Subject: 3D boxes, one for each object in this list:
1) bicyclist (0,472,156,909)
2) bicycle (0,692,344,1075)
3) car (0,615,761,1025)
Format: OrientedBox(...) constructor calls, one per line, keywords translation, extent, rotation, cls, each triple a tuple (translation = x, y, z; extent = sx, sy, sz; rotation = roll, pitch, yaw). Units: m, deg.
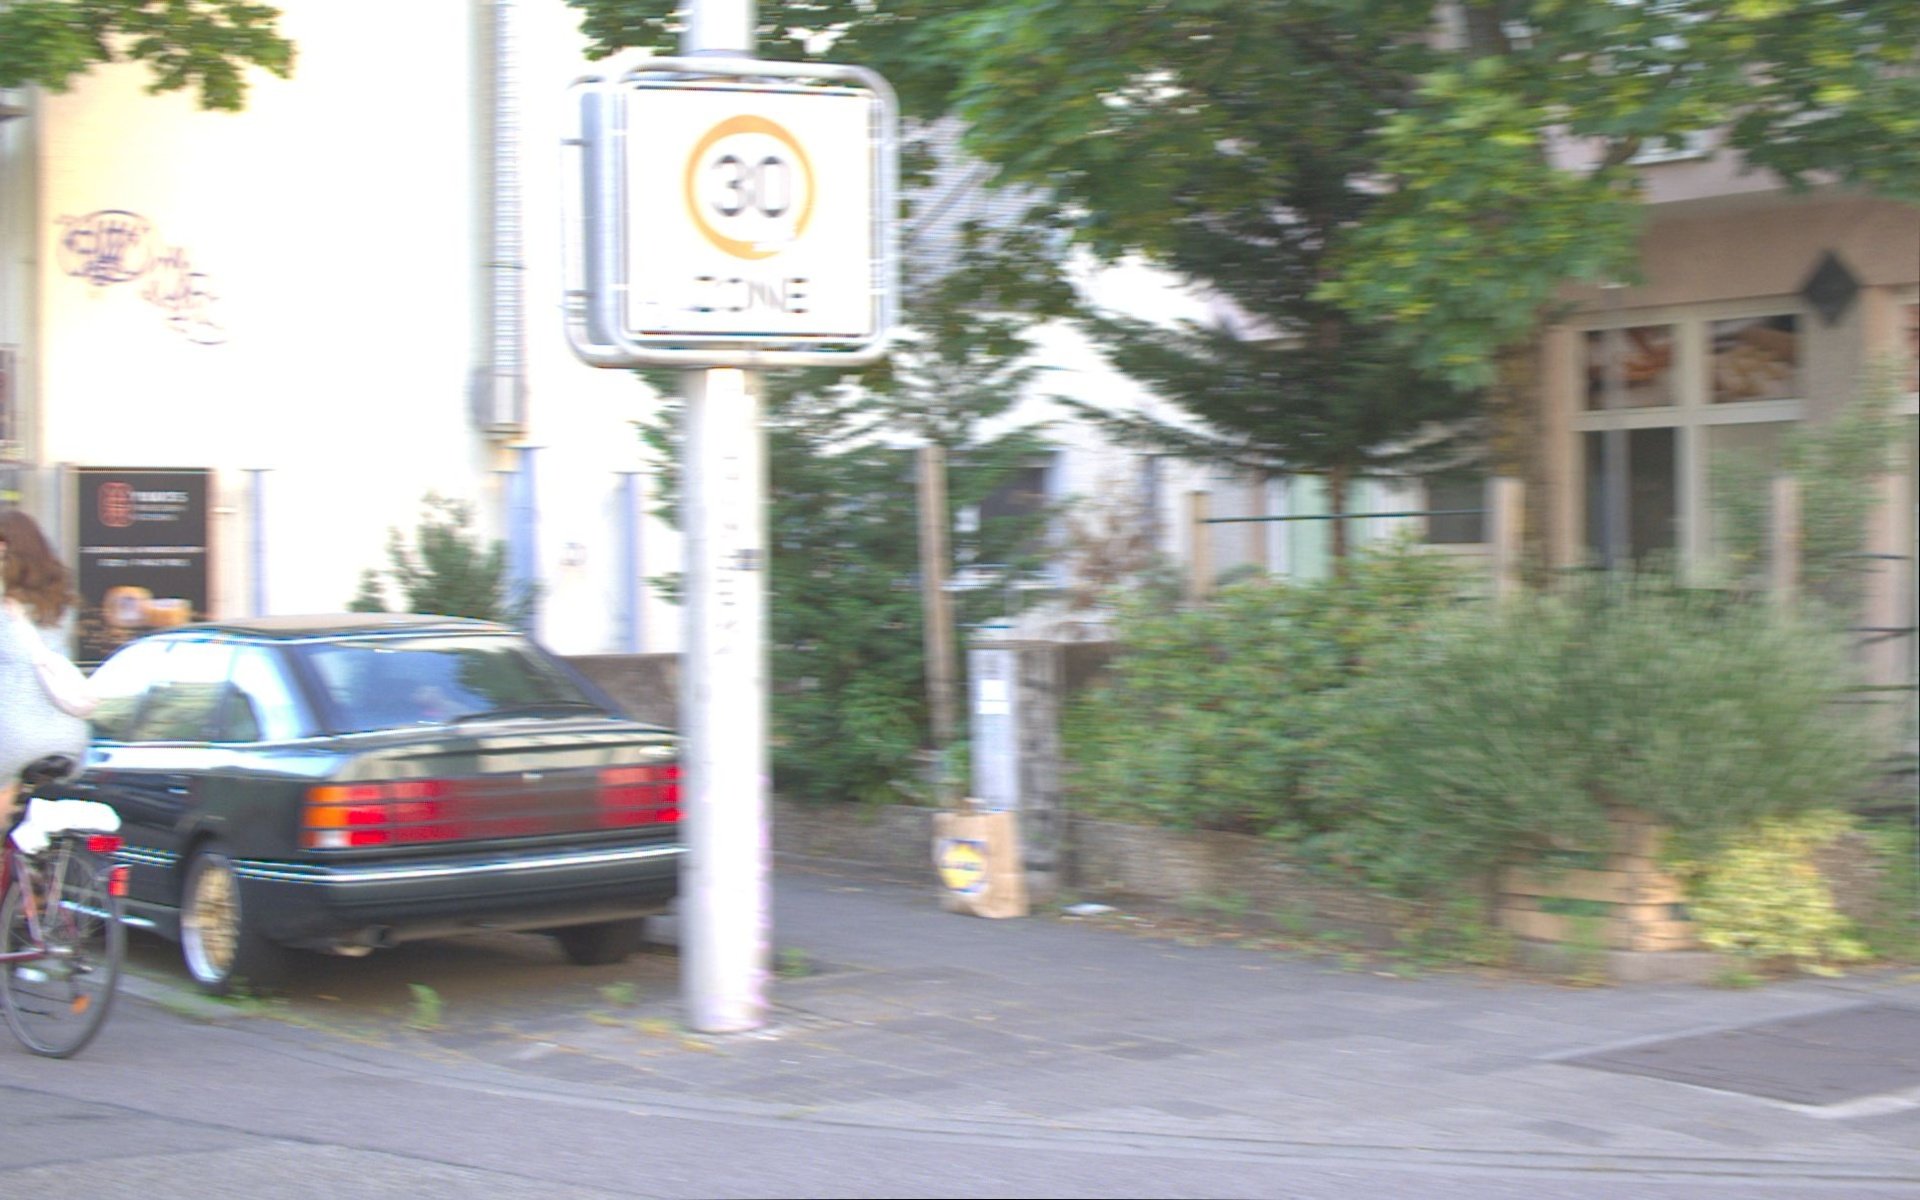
OrientedBox(translation=(-3.206, 0.316, 11.314), extent=(0.867, 1.376, 0.624), rotation=(-5, -4, 35), cls="bicyclist")
OrientedBox(translation=(-3.146, 0.888, 11.277), extent=(2.229, 1.145, 0.840), rotation=(-1, -4, 34), cls="bicycle")
OrientedBox(translation=(-2.626, 0.762, 14.160), extent=(1.708, 1.383, 4.570), rotation=(0, 0, -31), cls="car")
